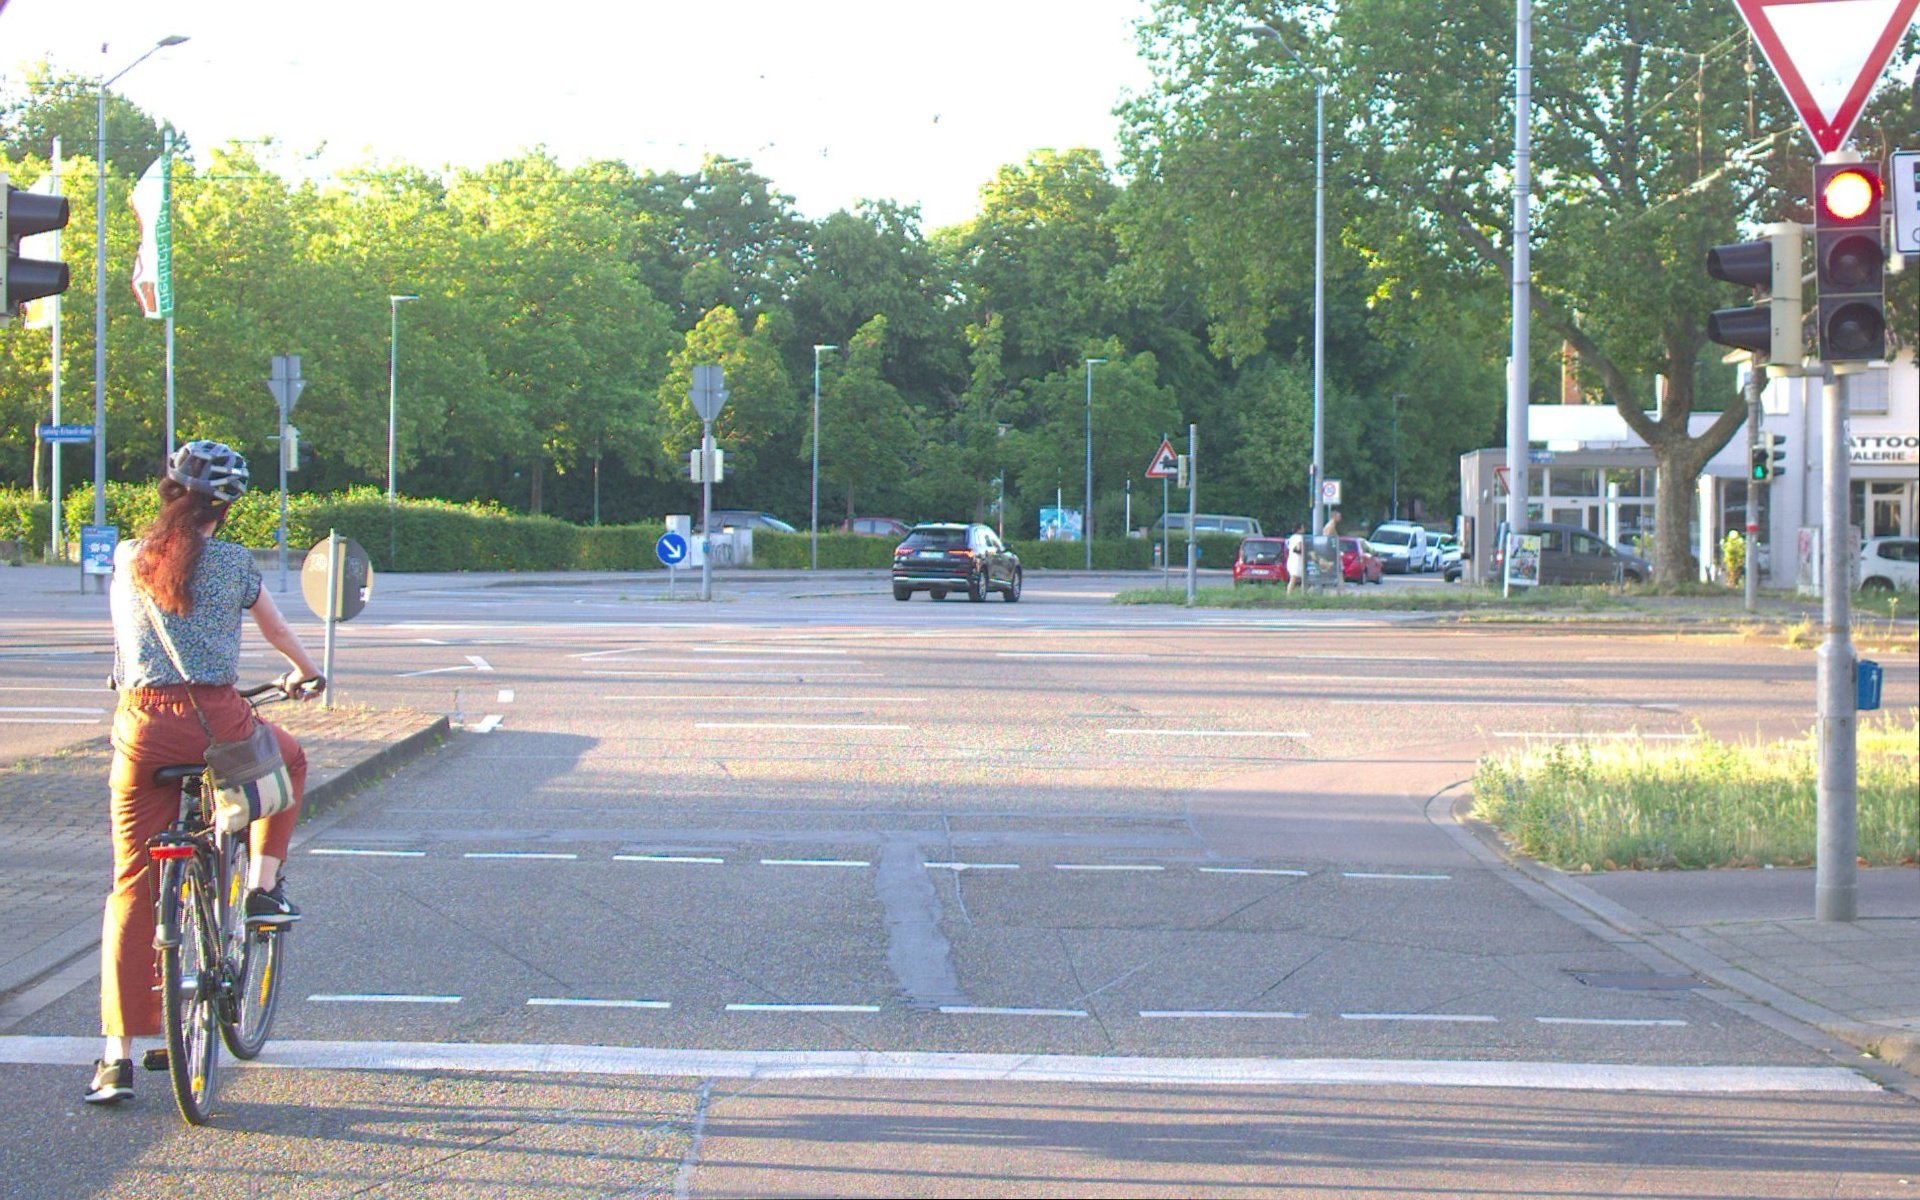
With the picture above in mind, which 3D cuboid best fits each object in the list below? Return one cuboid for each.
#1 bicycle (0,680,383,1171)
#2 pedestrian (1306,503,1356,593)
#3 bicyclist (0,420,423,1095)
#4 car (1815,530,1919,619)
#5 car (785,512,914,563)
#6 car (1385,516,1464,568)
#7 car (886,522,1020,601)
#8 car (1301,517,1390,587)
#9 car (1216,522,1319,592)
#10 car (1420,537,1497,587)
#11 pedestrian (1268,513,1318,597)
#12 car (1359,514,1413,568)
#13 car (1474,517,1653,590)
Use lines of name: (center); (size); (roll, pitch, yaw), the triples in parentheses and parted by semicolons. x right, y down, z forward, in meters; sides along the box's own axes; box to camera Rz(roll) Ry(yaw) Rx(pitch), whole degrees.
bicycle: (-2.043, 0.802, 9.258); (0.634, 1.064, 2.122); (1, 1, -1)
pedestrian: (7.303, -1.025, 67.588); (0.719, 1.748, 0.896); (1, 1, 24)
bicyclist: (-2.042, 0.391, 9.265); (1.031, 1.712, 0.996); (1, 1, -1)
car: (20.391, -0.538, 72.504); (4.230, 1.840, 2.000); (1, 1, 2)
car: (-3.483, -2.001, 109.247); (3.987, 1.555, 2.000); (1, 1, 1)
car: (18.358, -2.298, 135.758); (1.996, 2.007, 3.995); (1, 2, 24)
car: (-0.108, -0.767, 69.804); (1.756, 1.535, 4.398); (1, 0, 13)
car: (11.603, -1.470, 103.312); (1.916, 2.040, 3.997); (1, 2, 17)
car: (8.590, -1.225, 95.700); (1.870, 1.868, 3.870); (1, 2, 21)
car: (16.748, -1.284, 115.439); (1.916, 1.597, 3.997); (1, 2, 17)
pedestrian: (6.599, -0.898, 68.077); (0.719, 1.633, 0.896); (1, 1, 24)
car: (16.229, -2.281, 131.172); (1.994, 2.007, 3.999); (1, 1, 7)
car: (15.579, -1.209, 88.963); (4.378, 1.828, 1.949); (1, 1, 5)
